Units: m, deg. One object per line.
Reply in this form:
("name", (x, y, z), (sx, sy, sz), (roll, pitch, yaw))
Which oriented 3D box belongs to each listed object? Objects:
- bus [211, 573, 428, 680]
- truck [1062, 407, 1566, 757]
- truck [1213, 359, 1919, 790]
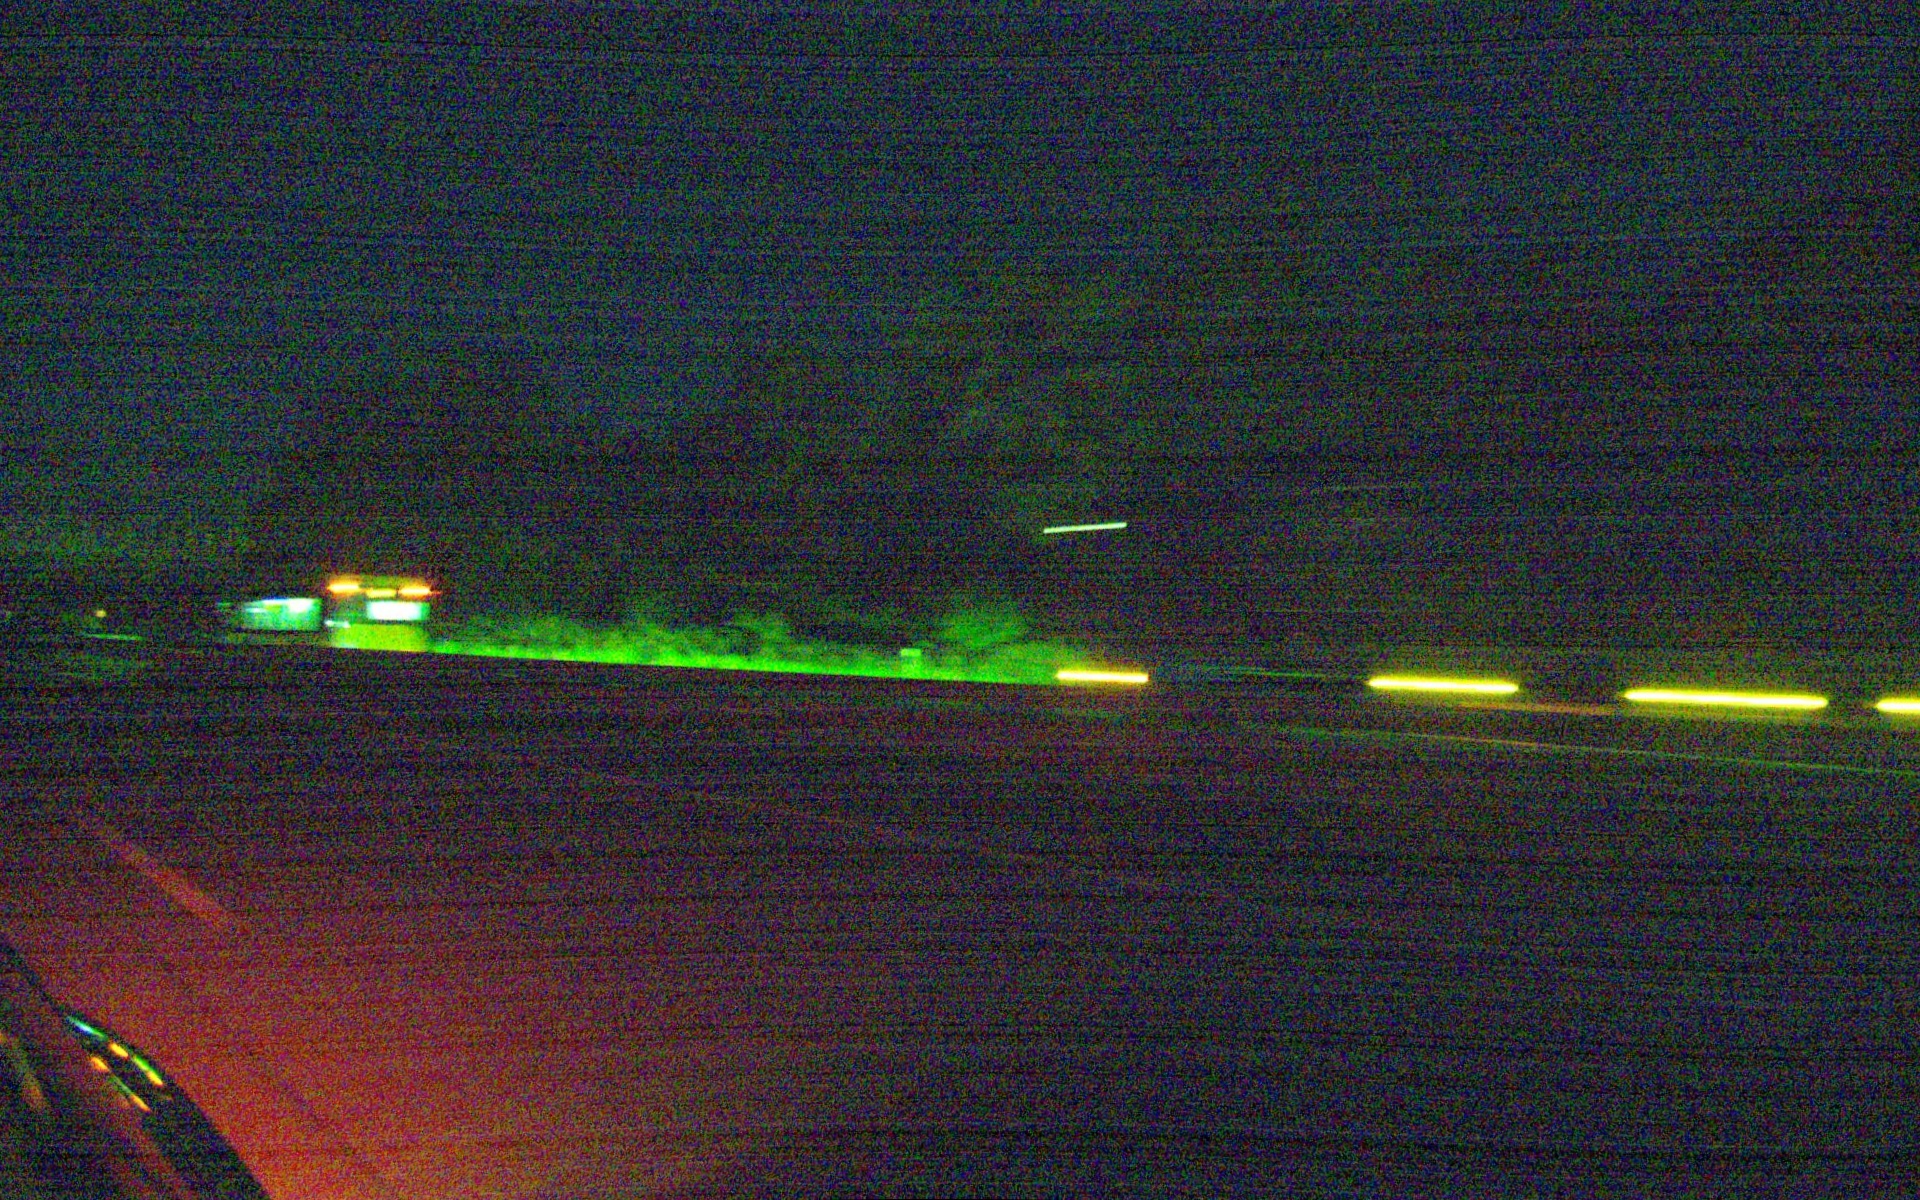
("bus", (-22.320, 0.867, 34.743), (12.510, 3.134, 2.757), (-1, -1, 41))
("truck", (5.051, -0.159, 15.326), (6.672, 4.175, 2.744), (-1, -2, 42))
("truck", (9.771, -0.226, 11.132), (13.904, 4.159, 2.717), (-1, -2, 42))
